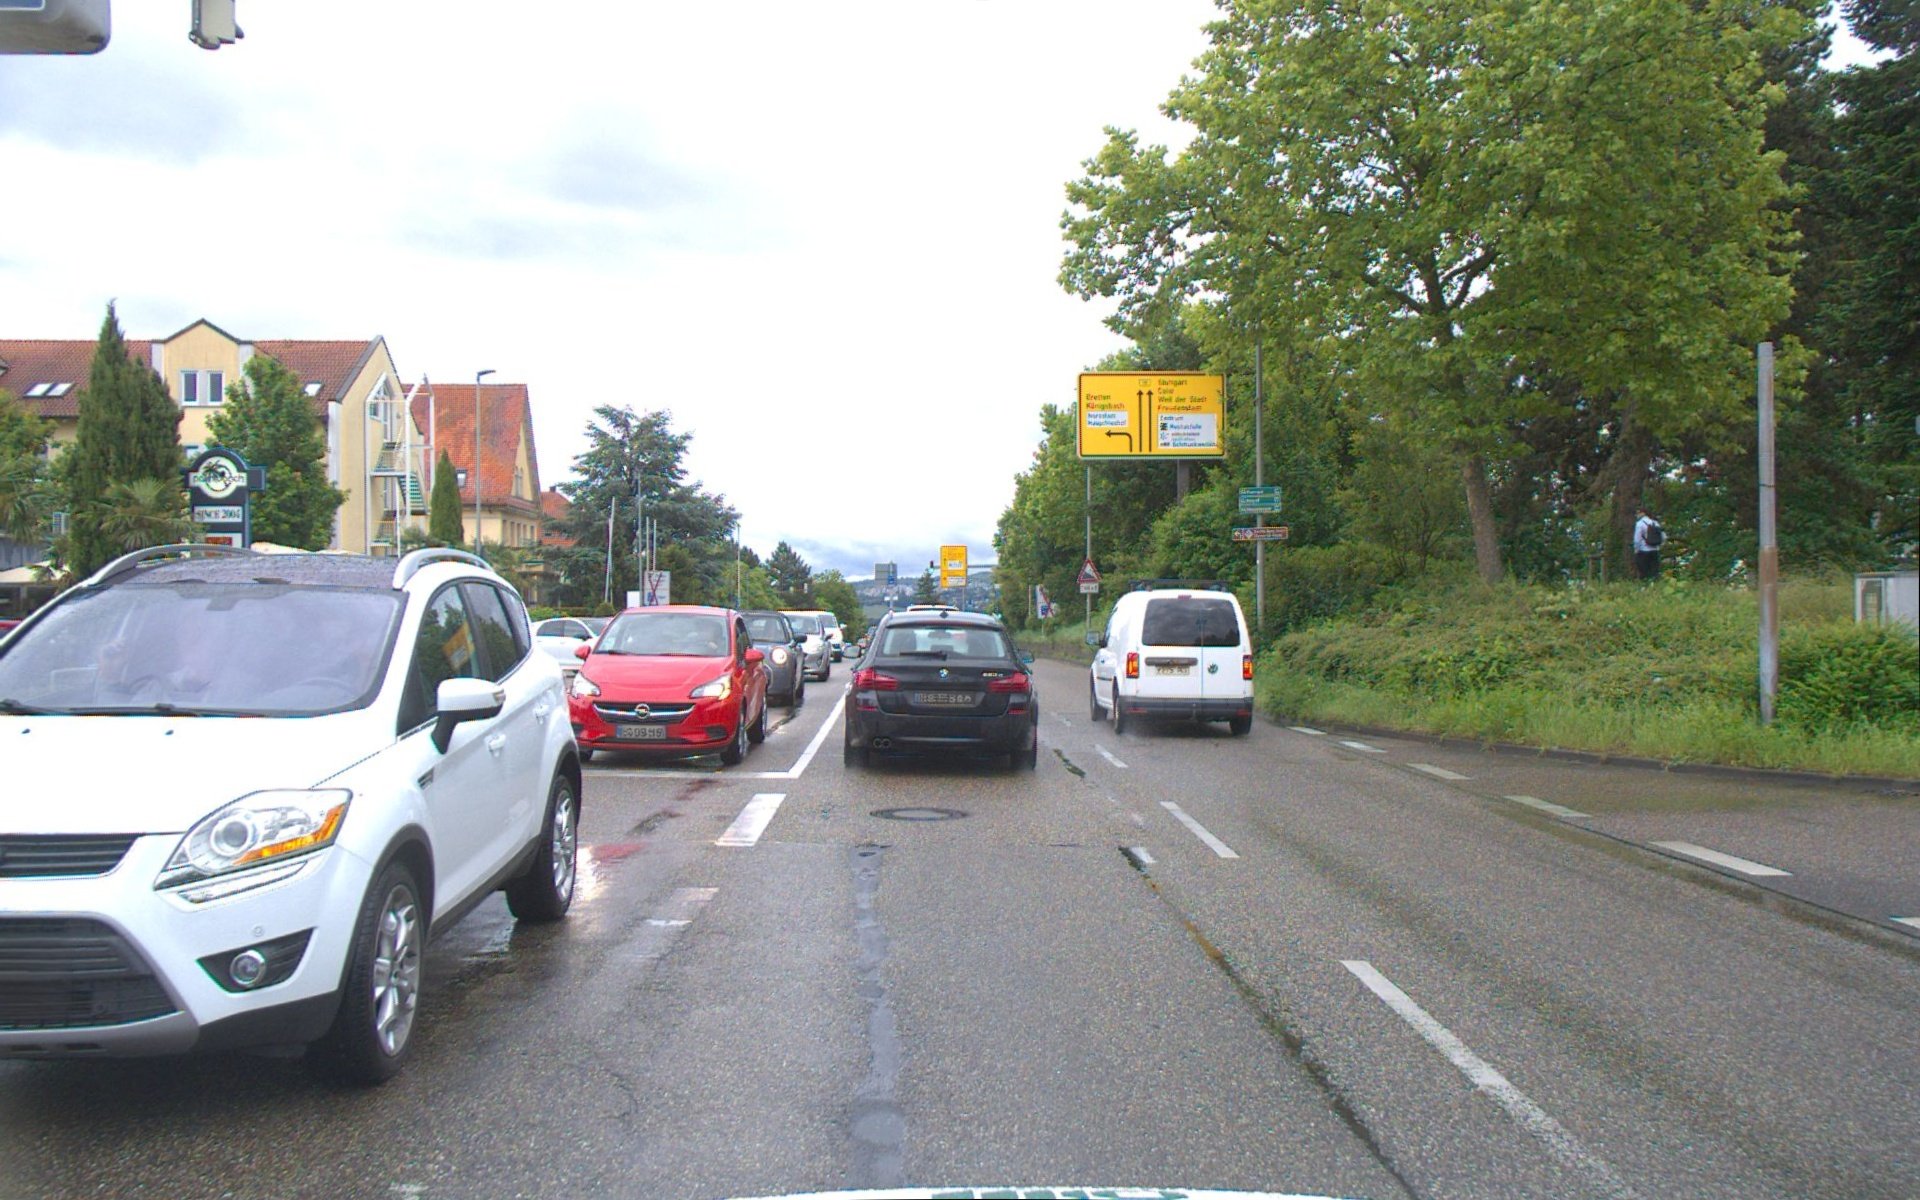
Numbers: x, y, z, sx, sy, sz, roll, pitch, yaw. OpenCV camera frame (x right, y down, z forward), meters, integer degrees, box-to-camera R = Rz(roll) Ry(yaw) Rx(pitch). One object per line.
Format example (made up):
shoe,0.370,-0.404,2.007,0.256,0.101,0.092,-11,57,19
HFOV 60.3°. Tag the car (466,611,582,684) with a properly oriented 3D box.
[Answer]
car,-9.659,1.016,36.912,1.570,1.424,4.403,-2,0,-3

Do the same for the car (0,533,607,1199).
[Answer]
car,-2.635,0.669,6.246,1.802,1.678,4.296,0,0,-2

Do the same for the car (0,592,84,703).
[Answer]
car,-17.066,0.877,26.893,4.943,1.732,1.980,-2,-2,-29

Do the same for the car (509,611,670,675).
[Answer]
car,-9.158,1.058,40.802,3.961,1.503,1.637,-1,-1,34

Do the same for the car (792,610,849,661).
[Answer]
car,-4.508,1.152,53.924,1.752,1.609,4.235,0,-1,-4

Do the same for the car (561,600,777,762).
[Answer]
car,-2.854,0.772,17.003,1.599,1.459,4.142,0,-1,-2

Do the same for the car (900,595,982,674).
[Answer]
car,-0.443,0.764,39.049,1.830,1.703,4.000,1,1,-1

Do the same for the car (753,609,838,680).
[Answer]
car,-3.567,0.957,36.344,1.569,1.466,3.947,1,-1,-2

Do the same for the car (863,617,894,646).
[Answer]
car,-5.249,2.017,107.009,1.830,1.703,4.000,1,1,-1

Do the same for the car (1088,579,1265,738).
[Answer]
car,2.768,0.681,21.901,1.729,1.910,3.804,1,1,-2

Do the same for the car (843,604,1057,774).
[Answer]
car,-0.110,0.832,16.467,1.860,1.467,3.999,1,-2,-1

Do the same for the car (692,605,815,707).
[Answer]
car,-3.239,0.842,26.507,1.569,1.466,3.947,1,0,-2

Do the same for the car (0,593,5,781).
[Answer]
car,-9.218,0.805,12.558,1.642,1.646,3.999,-1,1,-1

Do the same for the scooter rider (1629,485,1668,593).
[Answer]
scooter rider,12.896,-1.130,30.997,0.490,2.000,0.547,-1,0,-2
